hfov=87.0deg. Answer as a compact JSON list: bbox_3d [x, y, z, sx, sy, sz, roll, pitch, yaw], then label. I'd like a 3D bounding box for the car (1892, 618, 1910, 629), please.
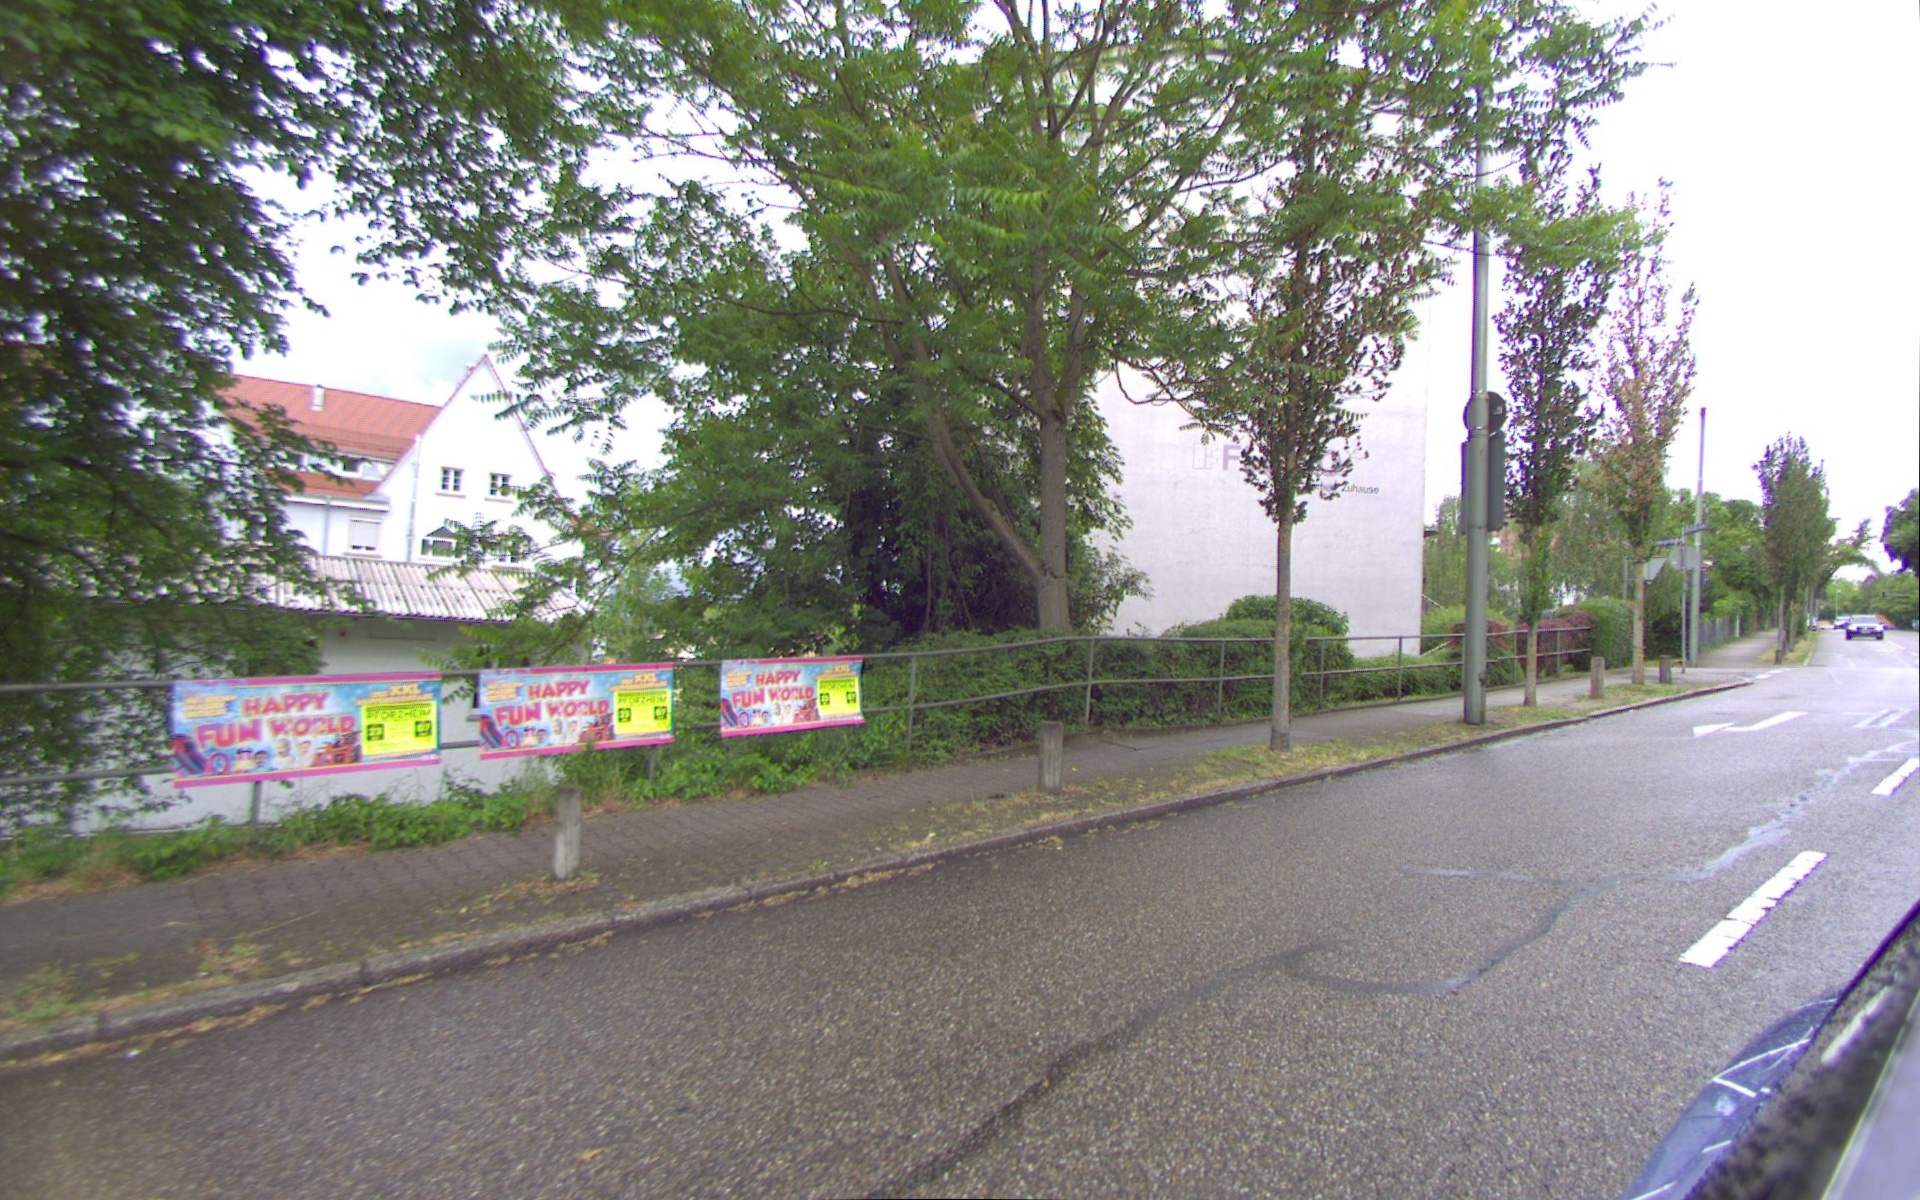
[{"bbox_3d":[145.183,3.555,156.207,1.744,1.568,3.860,4,2,40],"label":"car"}]

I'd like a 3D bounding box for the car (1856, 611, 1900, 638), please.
[{"bbox_3d":[60.956,1.641,67.166,1.993,1.706,3.936,-4,-4,44],"label":"car"}]

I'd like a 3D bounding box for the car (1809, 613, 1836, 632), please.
[{"bbox_3d":[79.252,2.016,93.040,1.822,1.650,3.942,1,0,40],"label":"car"}]

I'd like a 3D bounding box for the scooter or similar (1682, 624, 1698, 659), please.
[{"bbox_3d":[27.329,1.546,37.871,0.342,1.270,1.249,-4,-2,40],"label":"scooter or similar"}]
